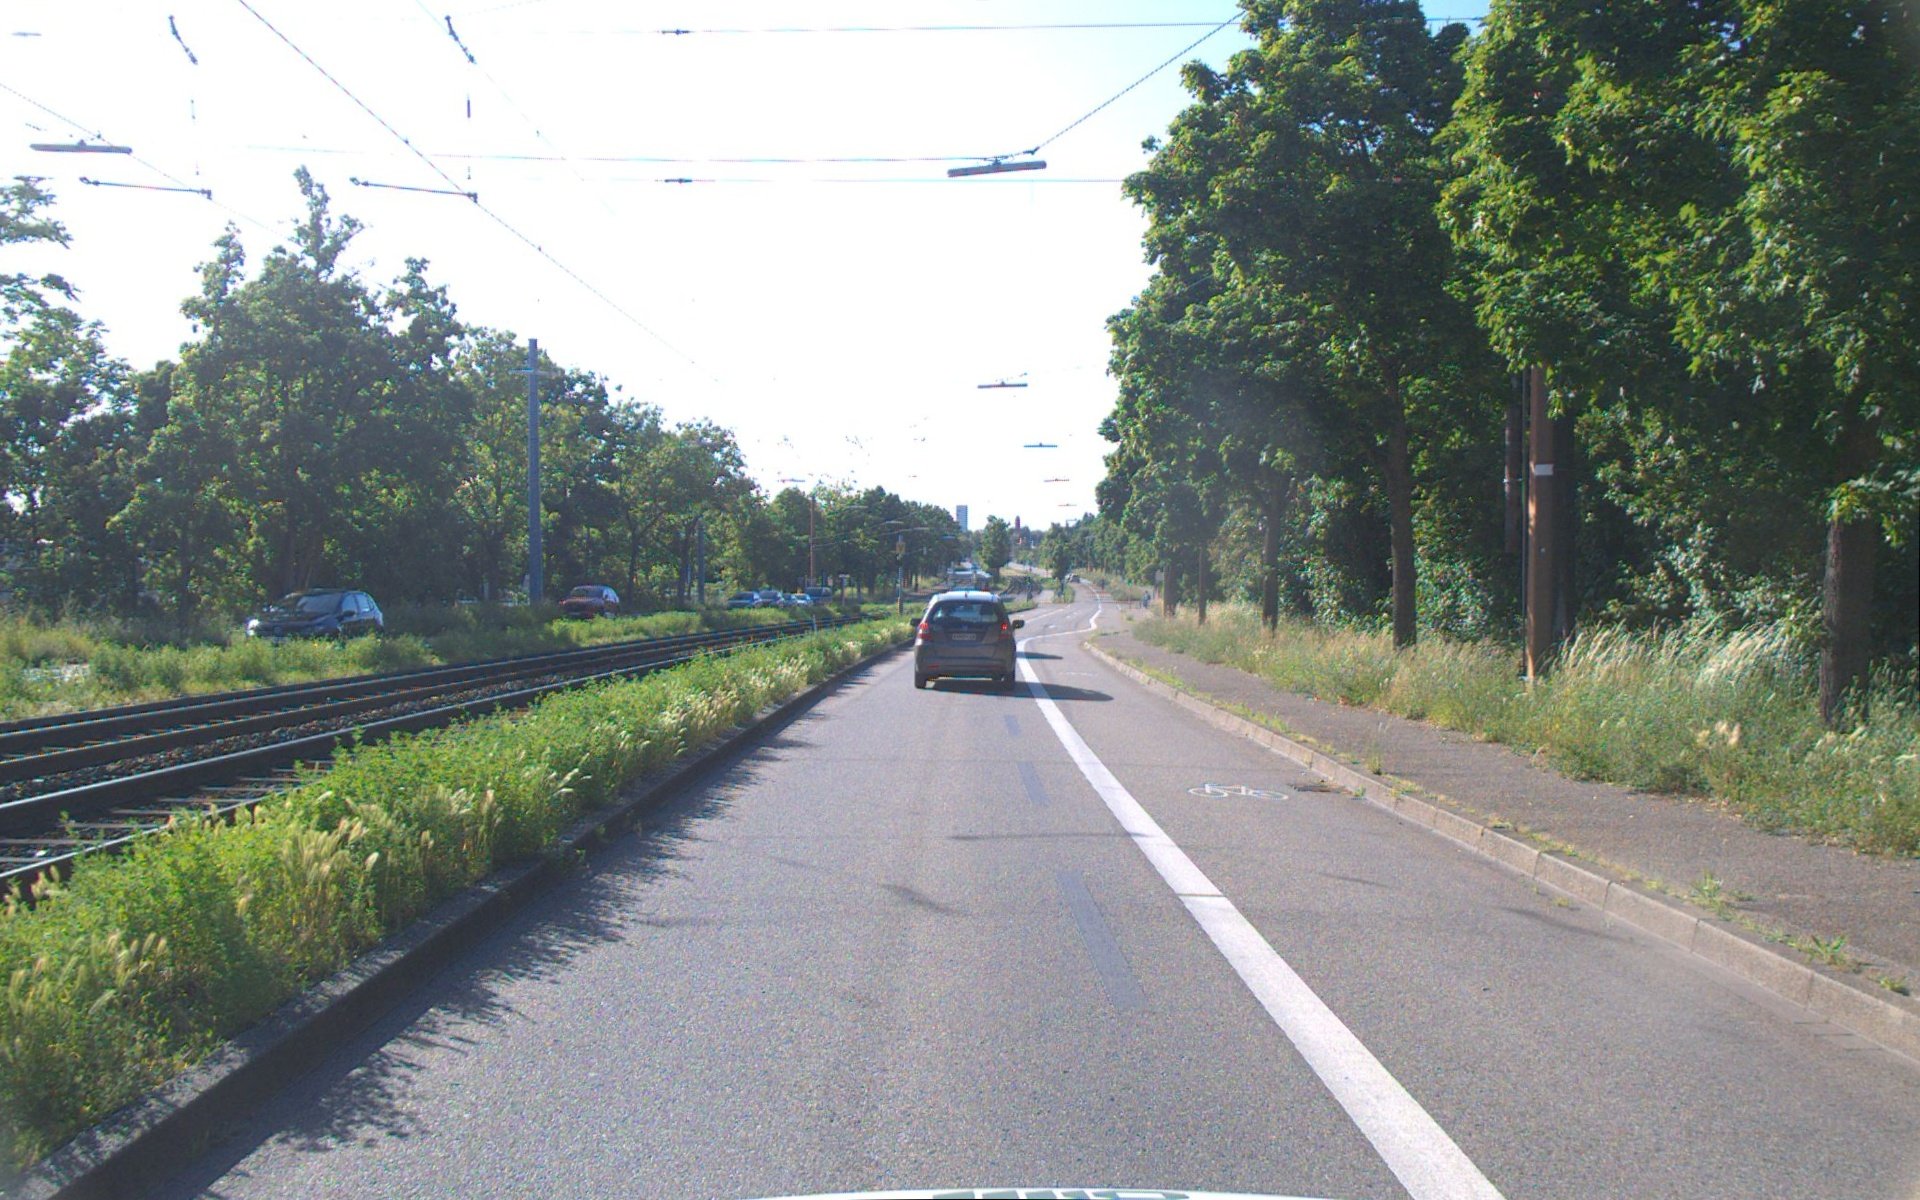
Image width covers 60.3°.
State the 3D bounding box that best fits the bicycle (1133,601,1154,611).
[{"bbox_3d":[18.080,0.585,162.967,1.879,1.015,0.765,-2,-1,16],"label":"bicycle"}]

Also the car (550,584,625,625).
[{"bbox_3d":[-16.246,0.195,72.356,1.962,1.732,4.469,1,0,4],"label":"car"}]

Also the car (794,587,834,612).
[{"bbox_3d":[-11.560,-0.076,131.316,2.150,1.924,4.795,1,0,7],"label":"car"}]

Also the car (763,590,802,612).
[{"bbox_3d":[-12.750,0.049,118.941,1.951,1.462,4.418,1,1,6],"label":"car"}]

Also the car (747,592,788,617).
[{"bbox_3d":[-13.137,0.302,113.050,1.952,1.602,4.437,1,1,4],"label":"car"}]

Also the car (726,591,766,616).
[{"bbox_3d":[-13.719,0.207,106.414,1.699,1.520,4.330,2,0,3],"label":"car"}]

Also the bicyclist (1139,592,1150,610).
[{"bbox_3d":[18.160,0.095,162.977,0.891,1.775,0.765,-1,-1,16],"label":"bicyclist"}]

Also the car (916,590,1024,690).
[{"bbox_3d":[0.219,0.610,27.993,1.671,1.535,4.001,1,0,2],"label":"car"}]

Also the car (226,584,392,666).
[{"bbox_3d":[-12.856,0.451,32.919,1.675,1.505,4.000,1,0,0],"label":"car"}]

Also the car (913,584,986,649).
[{"bbox_3d":[-0.234,0.414,44.378,1.812,1.634,4.255,1,0,1],"label":"car"}]
